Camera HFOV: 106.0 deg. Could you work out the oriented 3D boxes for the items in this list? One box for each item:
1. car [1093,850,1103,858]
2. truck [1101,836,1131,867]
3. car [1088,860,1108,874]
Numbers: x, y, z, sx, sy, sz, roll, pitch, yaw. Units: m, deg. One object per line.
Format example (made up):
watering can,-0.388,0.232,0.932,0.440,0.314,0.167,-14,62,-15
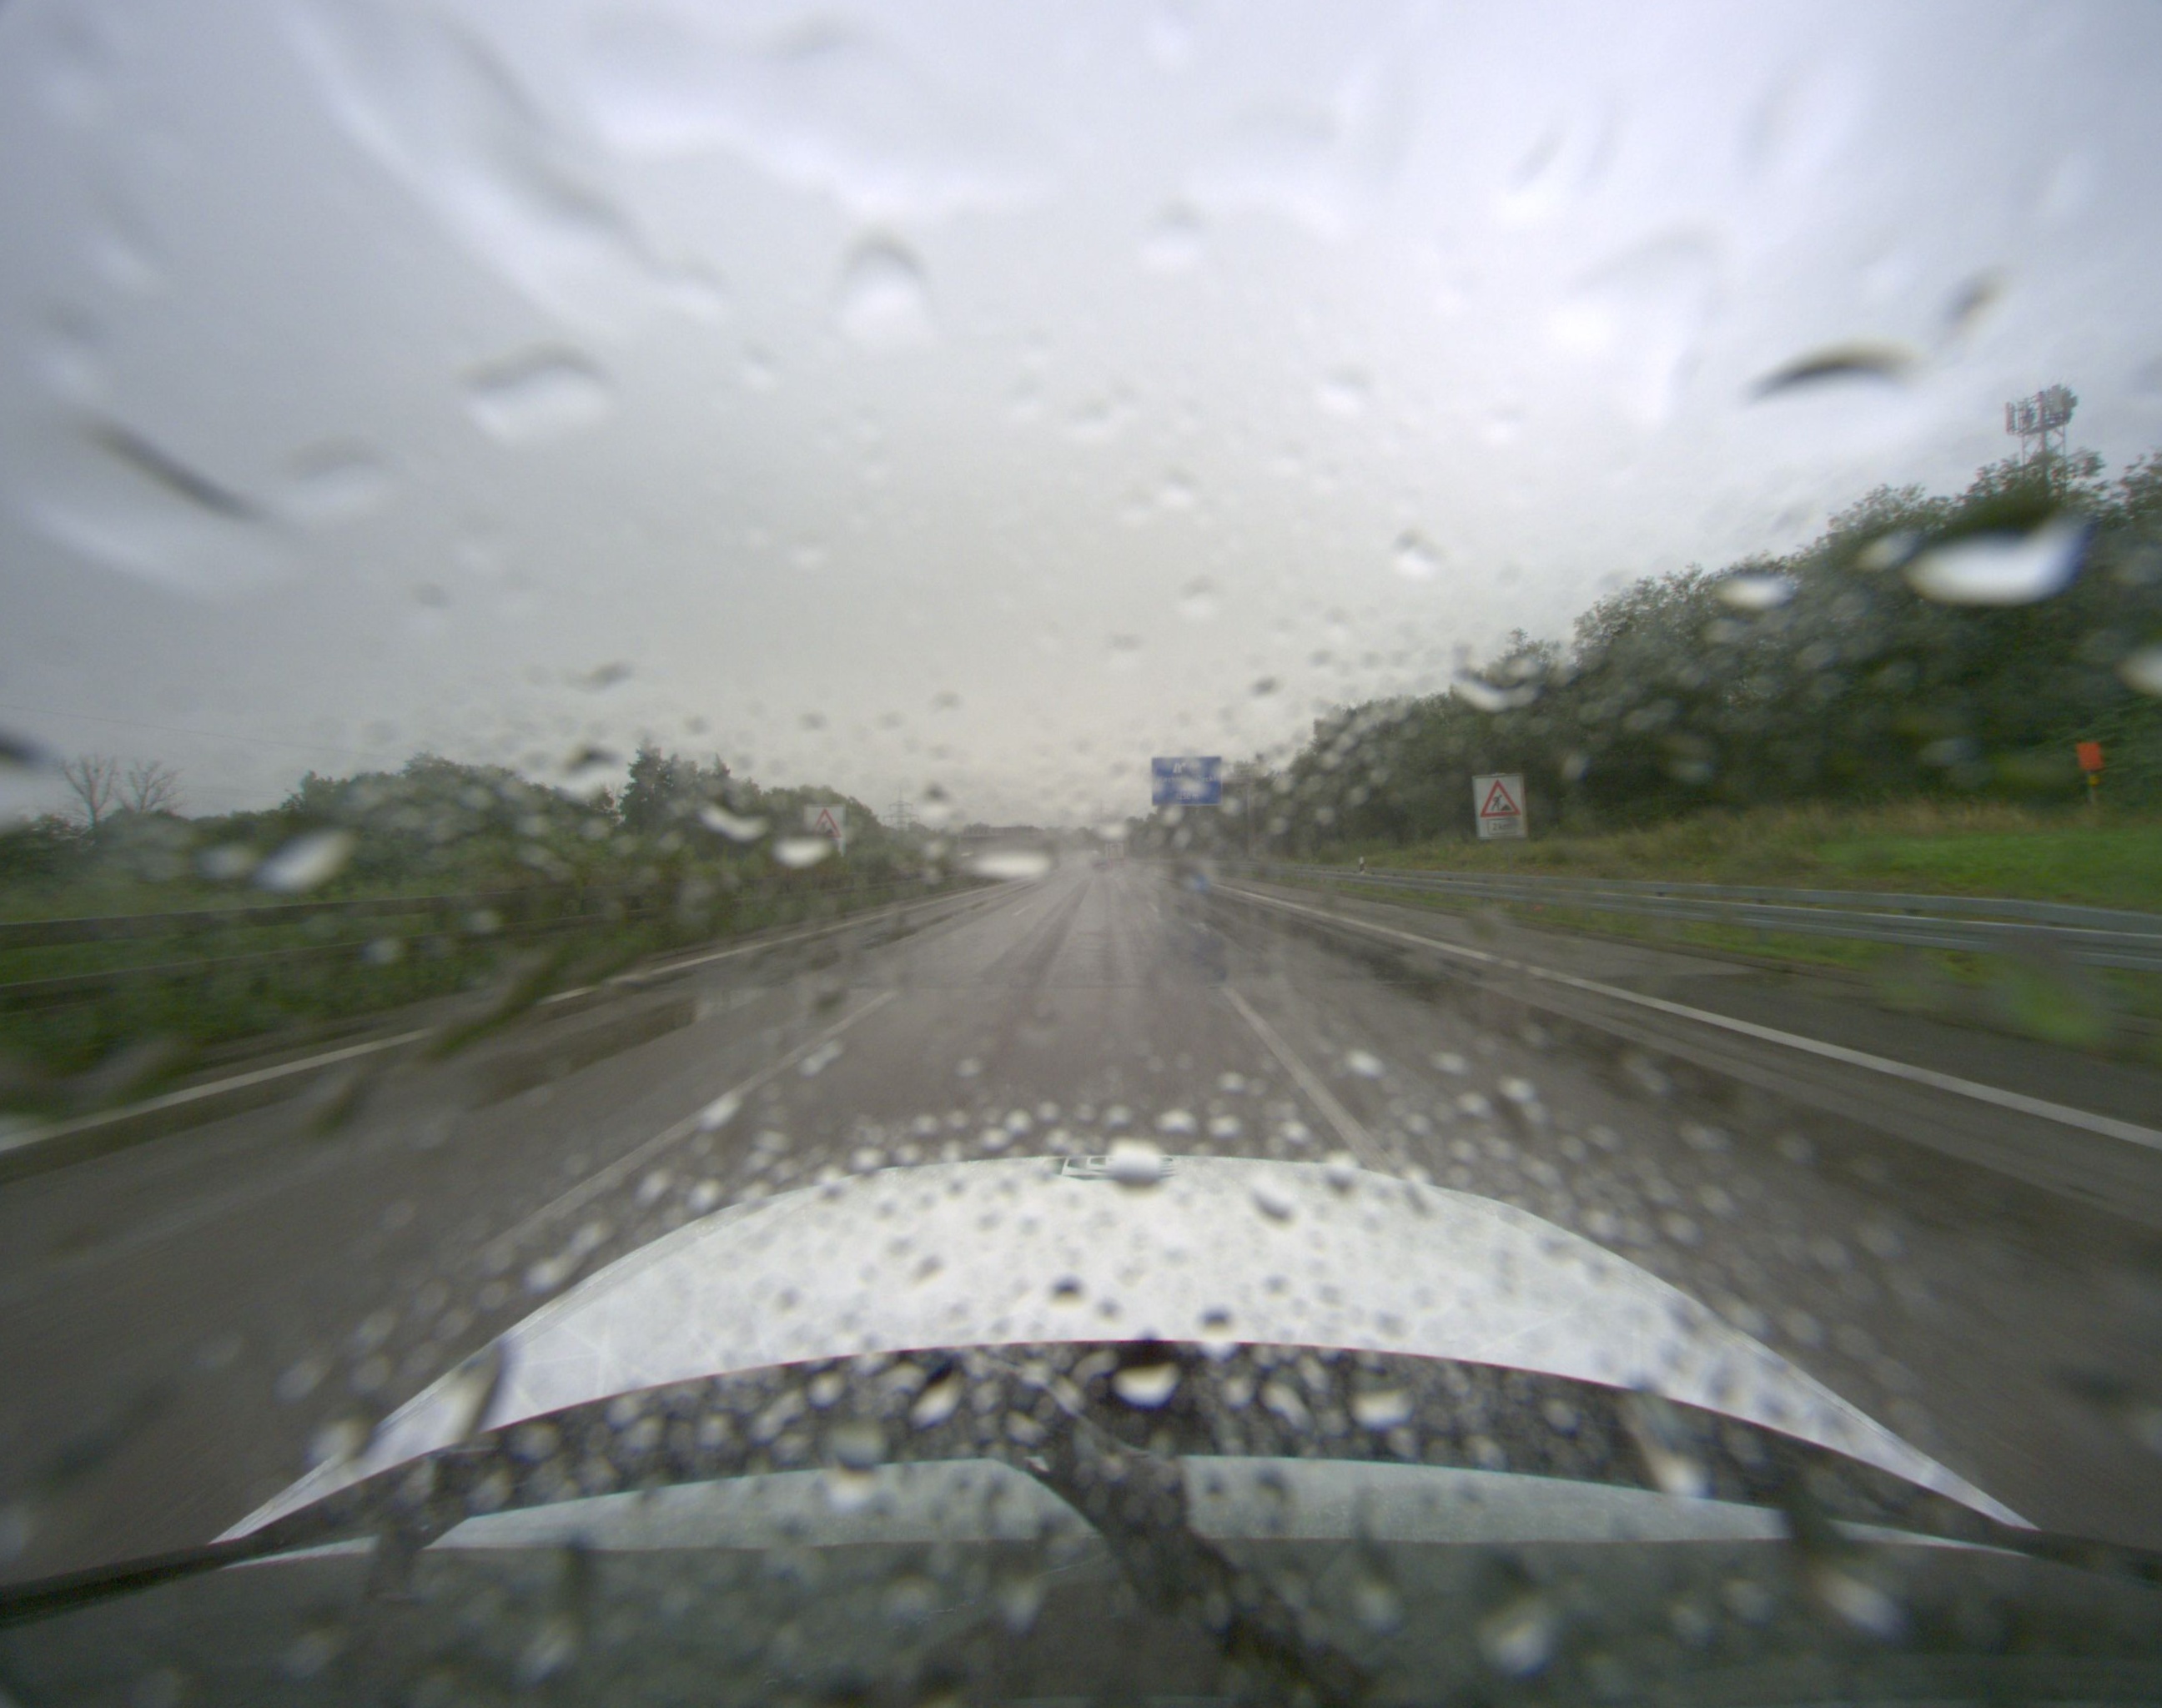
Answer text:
car,4.860,-0.097,233.349,2.389,2.272,4.993,-1,0,-5
truck,6.019,-0.476,143.525,4.243,4.971,17.339,-4,0,0
car,1.503,1.109,71.712,1.742,1.212,4.001,0,0,1
